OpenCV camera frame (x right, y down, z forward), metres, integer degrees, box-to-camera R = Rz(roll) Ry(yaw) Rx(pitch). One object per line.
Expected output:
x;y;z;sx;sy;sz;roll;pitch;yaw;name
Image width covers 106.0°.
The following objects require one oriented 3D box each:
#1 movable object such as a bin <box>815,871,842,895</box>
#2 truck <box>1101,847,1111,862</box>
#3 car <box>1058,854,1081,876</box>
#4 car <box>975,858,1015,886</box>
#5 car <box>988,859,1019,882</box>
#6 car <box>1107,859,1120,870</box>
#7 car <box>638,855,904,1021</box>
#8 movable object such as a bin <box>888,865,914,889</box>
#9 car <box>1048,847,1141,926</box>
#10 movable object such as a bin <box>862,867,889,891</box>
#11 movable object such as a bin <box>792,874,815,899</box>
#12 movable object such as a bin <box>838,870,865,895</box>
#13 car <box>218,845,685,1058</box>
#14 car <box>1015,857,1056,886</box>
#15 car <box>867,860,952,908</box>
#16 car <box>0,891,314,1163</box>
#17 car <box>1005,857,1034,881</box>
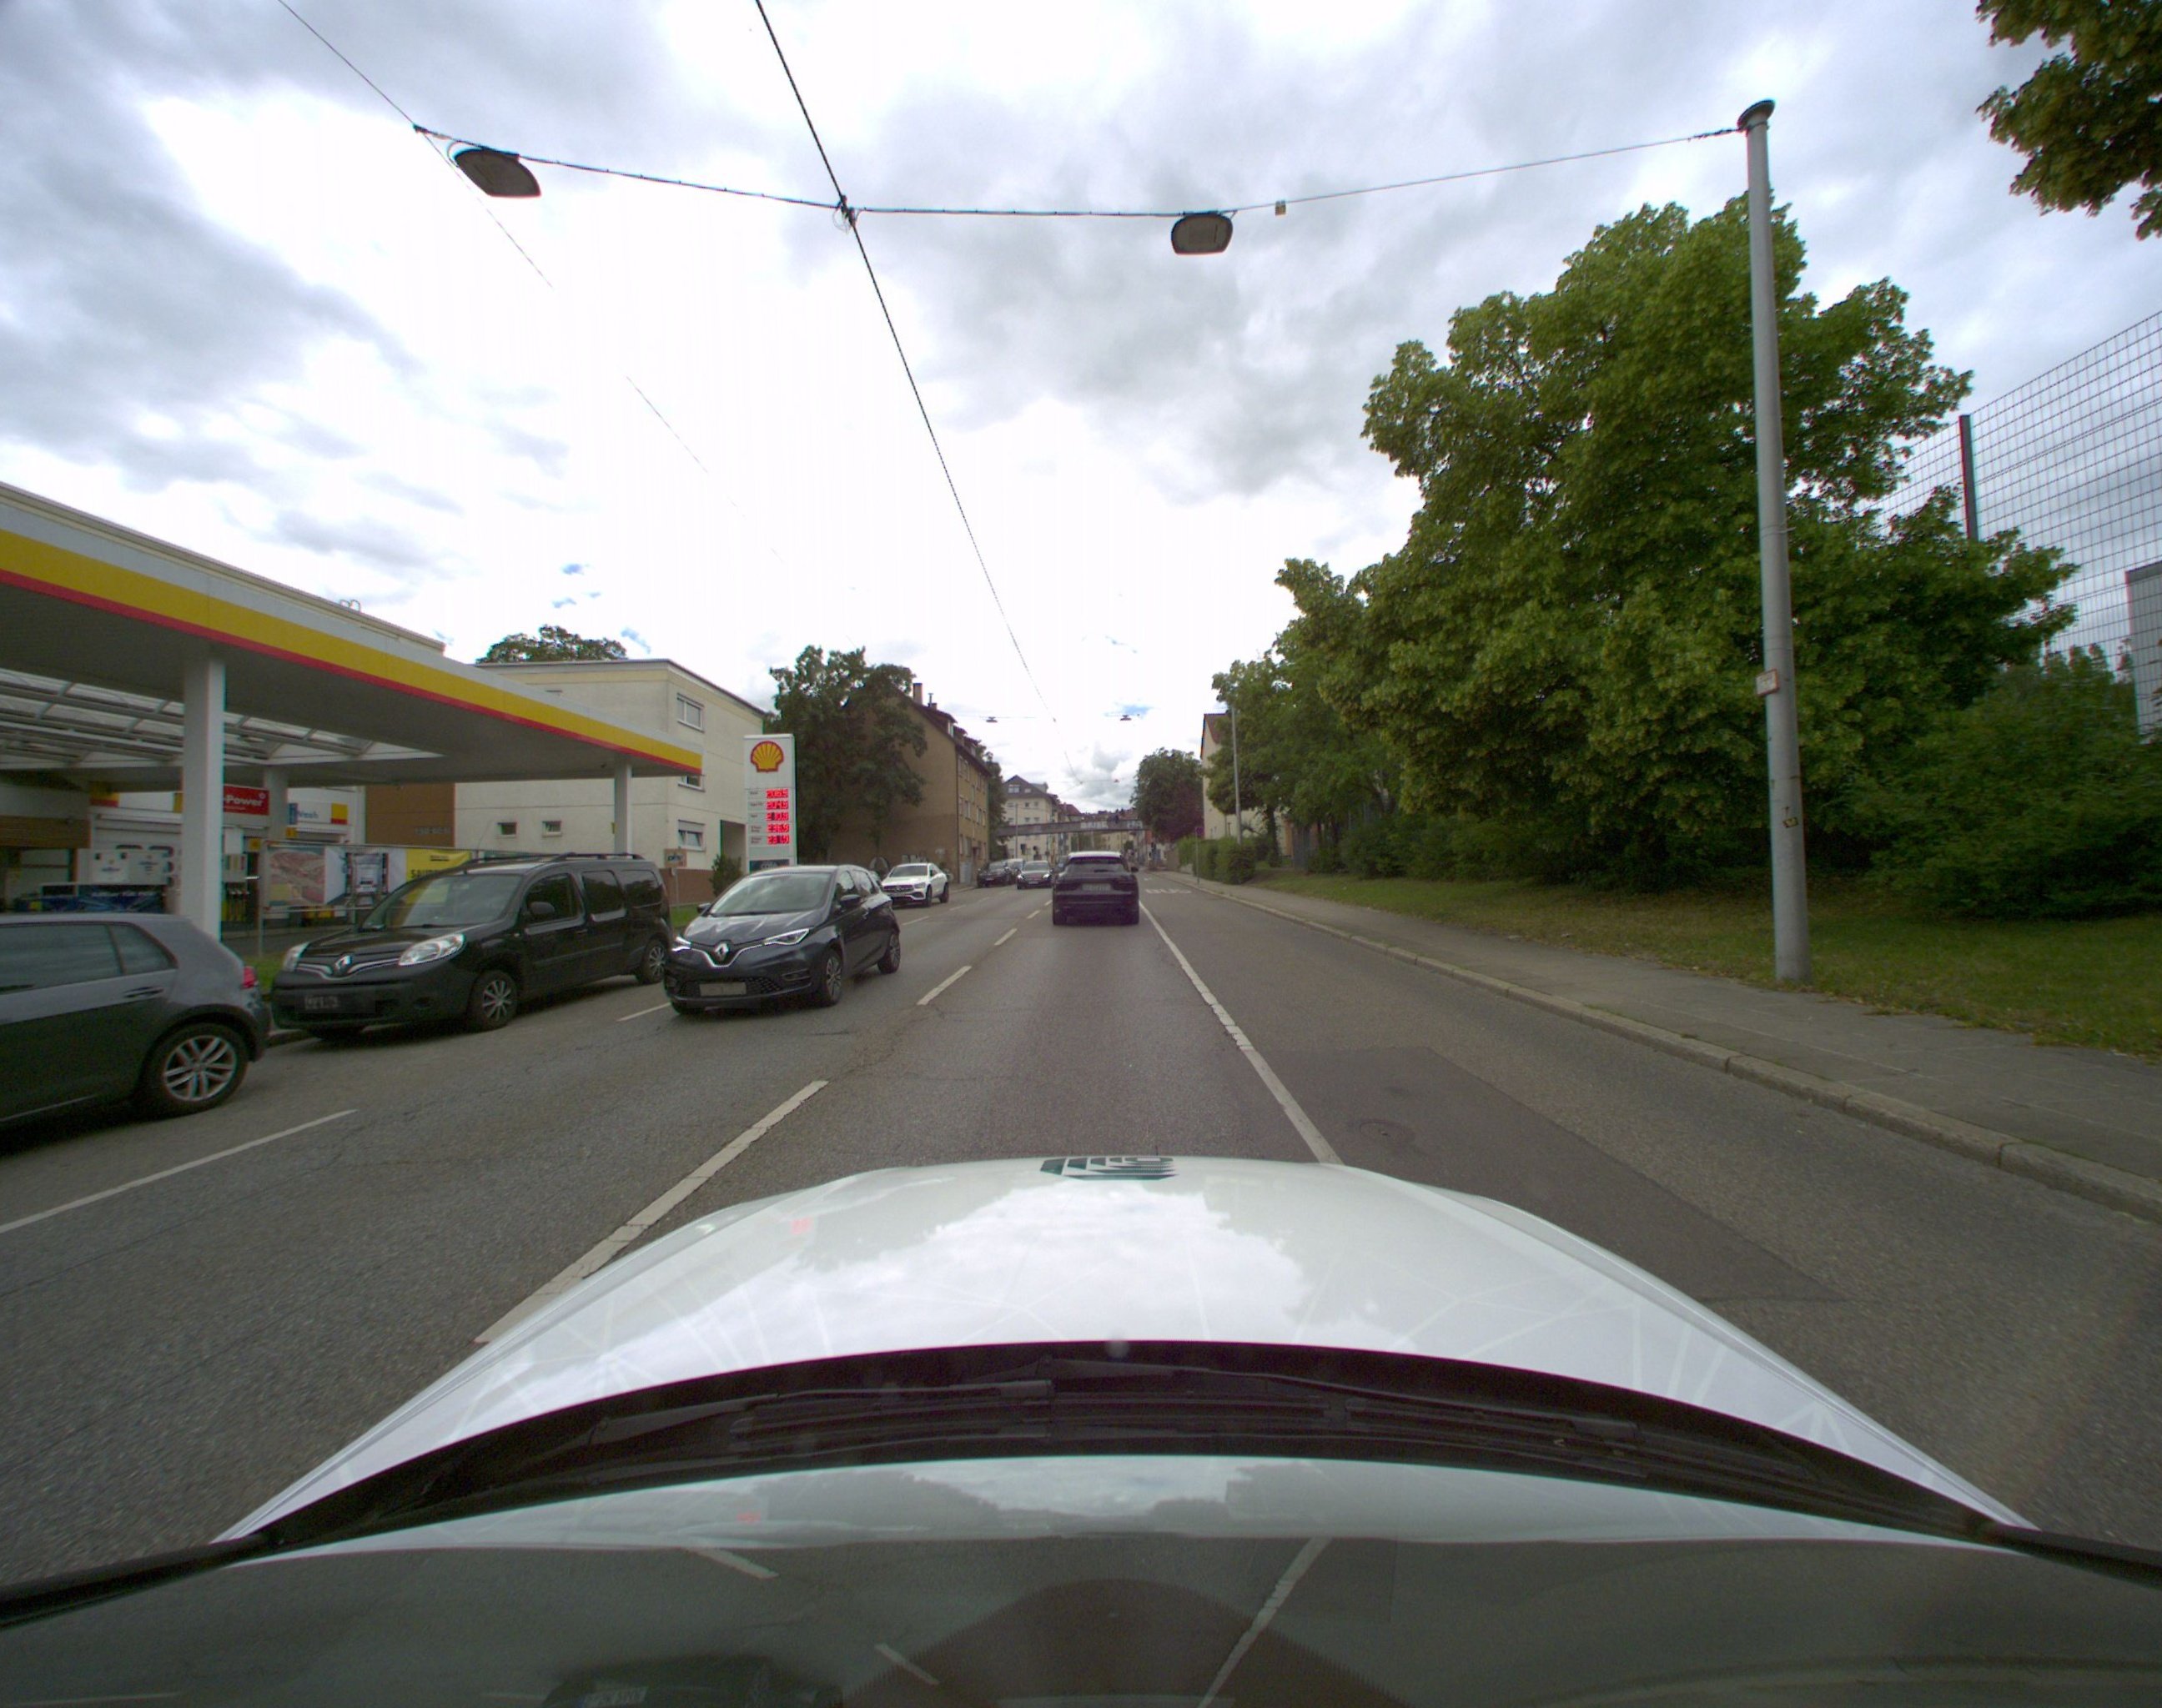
-15.541;1.799;50.154;1.388;1.428;0.913;-1;0;-1;movable object such as a bin
5.994;0.139;195.476;2.258;3.424;9.881;-2;-1;2;truck
-1.025;0.956;75.694;1.924;1.901;4.591;-2;0;2;car
-5.493;1.126;52.251;1.775;1.609;4.268;-4;0;3;car
-5.468;1.147;57.978;1.746;1.530;4.098;-3;0;0;car
4.418;1.446;111.354;1.734;1.400;4.002;-1;0;2;car
-3.461;0.831;9.882;1.677;1.555;3.719;-3;0;1;car
-11.022;1.389;49.931;1.278;1.428;1.278;-1;0;-3;movable object such as a bin
0.364;0.691;19.659;1.986;1.662;4.002;-1;0;2;car
-12.684;1.524;50.211;1.388;1.428;0.913;-1;0;-1;movable object such as a bin
-17.021;1.987;49.953;0.907;1.428;1.397;-1;0;-1;movable object such as a bin
-14.115;1.751;50.186;1.388;1.428;0.913;-1;0;-1;movable object such as a bin
-6.870;0.893;9.765;1.845;1.835;4.701;-3;0;0;car
-2.439;0.932;44.754;1.771;1.466;4.501;-3;0;2;car
-6.258;1.050;30.322;1.908;1.577;4.702;-3;0;2;car
-7.010;1.057;4.297;1.784;1.450;4.220;-3;0;2;car
-4.788;1.155;63.981;1.770;1.754;4.559;-3;0;2;car
